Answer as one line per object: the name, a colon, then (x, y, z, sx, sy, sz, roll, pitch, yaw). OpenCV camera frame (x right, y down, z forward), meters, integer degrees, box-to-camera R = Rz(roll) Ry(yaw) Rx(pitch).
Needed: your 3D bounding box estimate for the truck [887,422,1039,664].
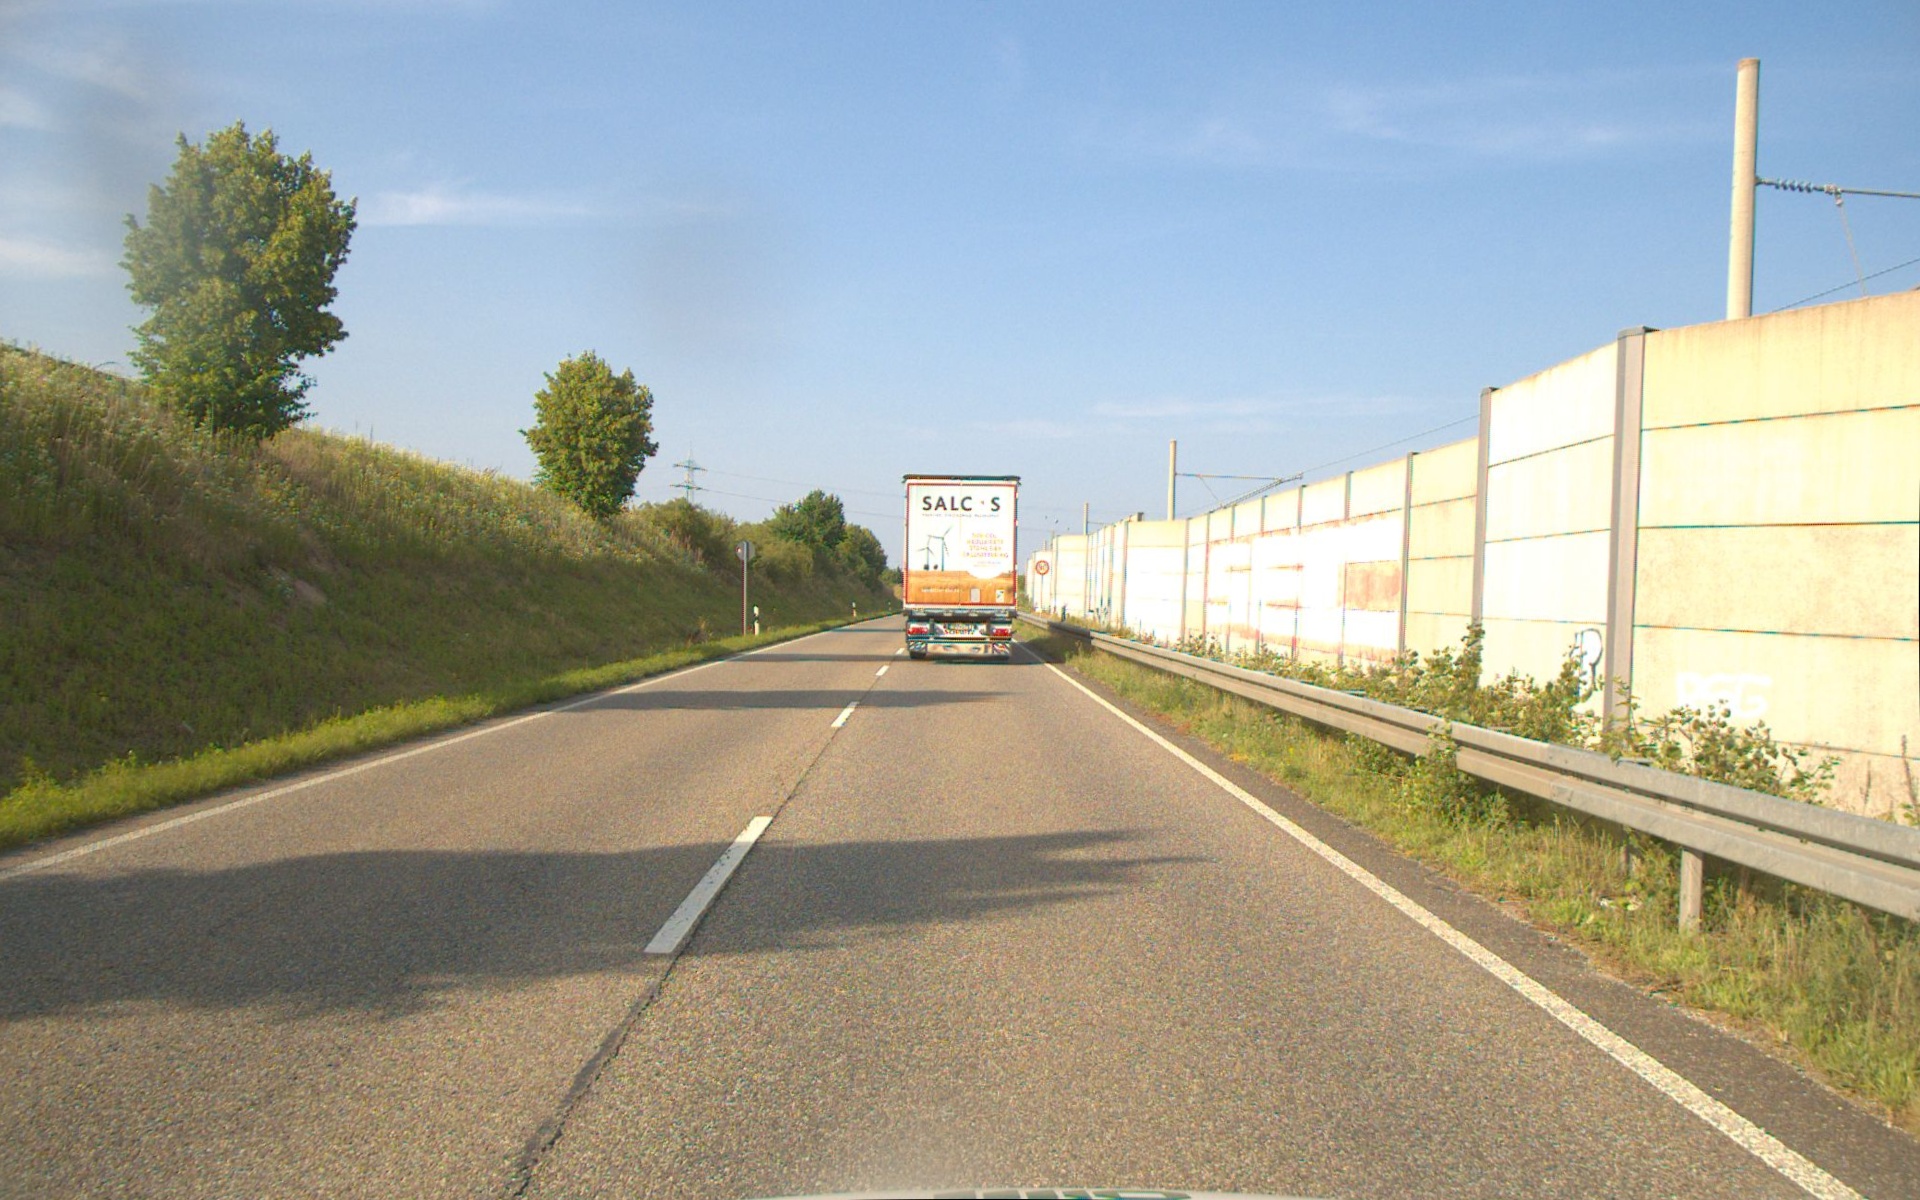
truck: (-0.107, -1.290, 41.767, 3.224, 5.179, 12.034, 1, 1, -2)
